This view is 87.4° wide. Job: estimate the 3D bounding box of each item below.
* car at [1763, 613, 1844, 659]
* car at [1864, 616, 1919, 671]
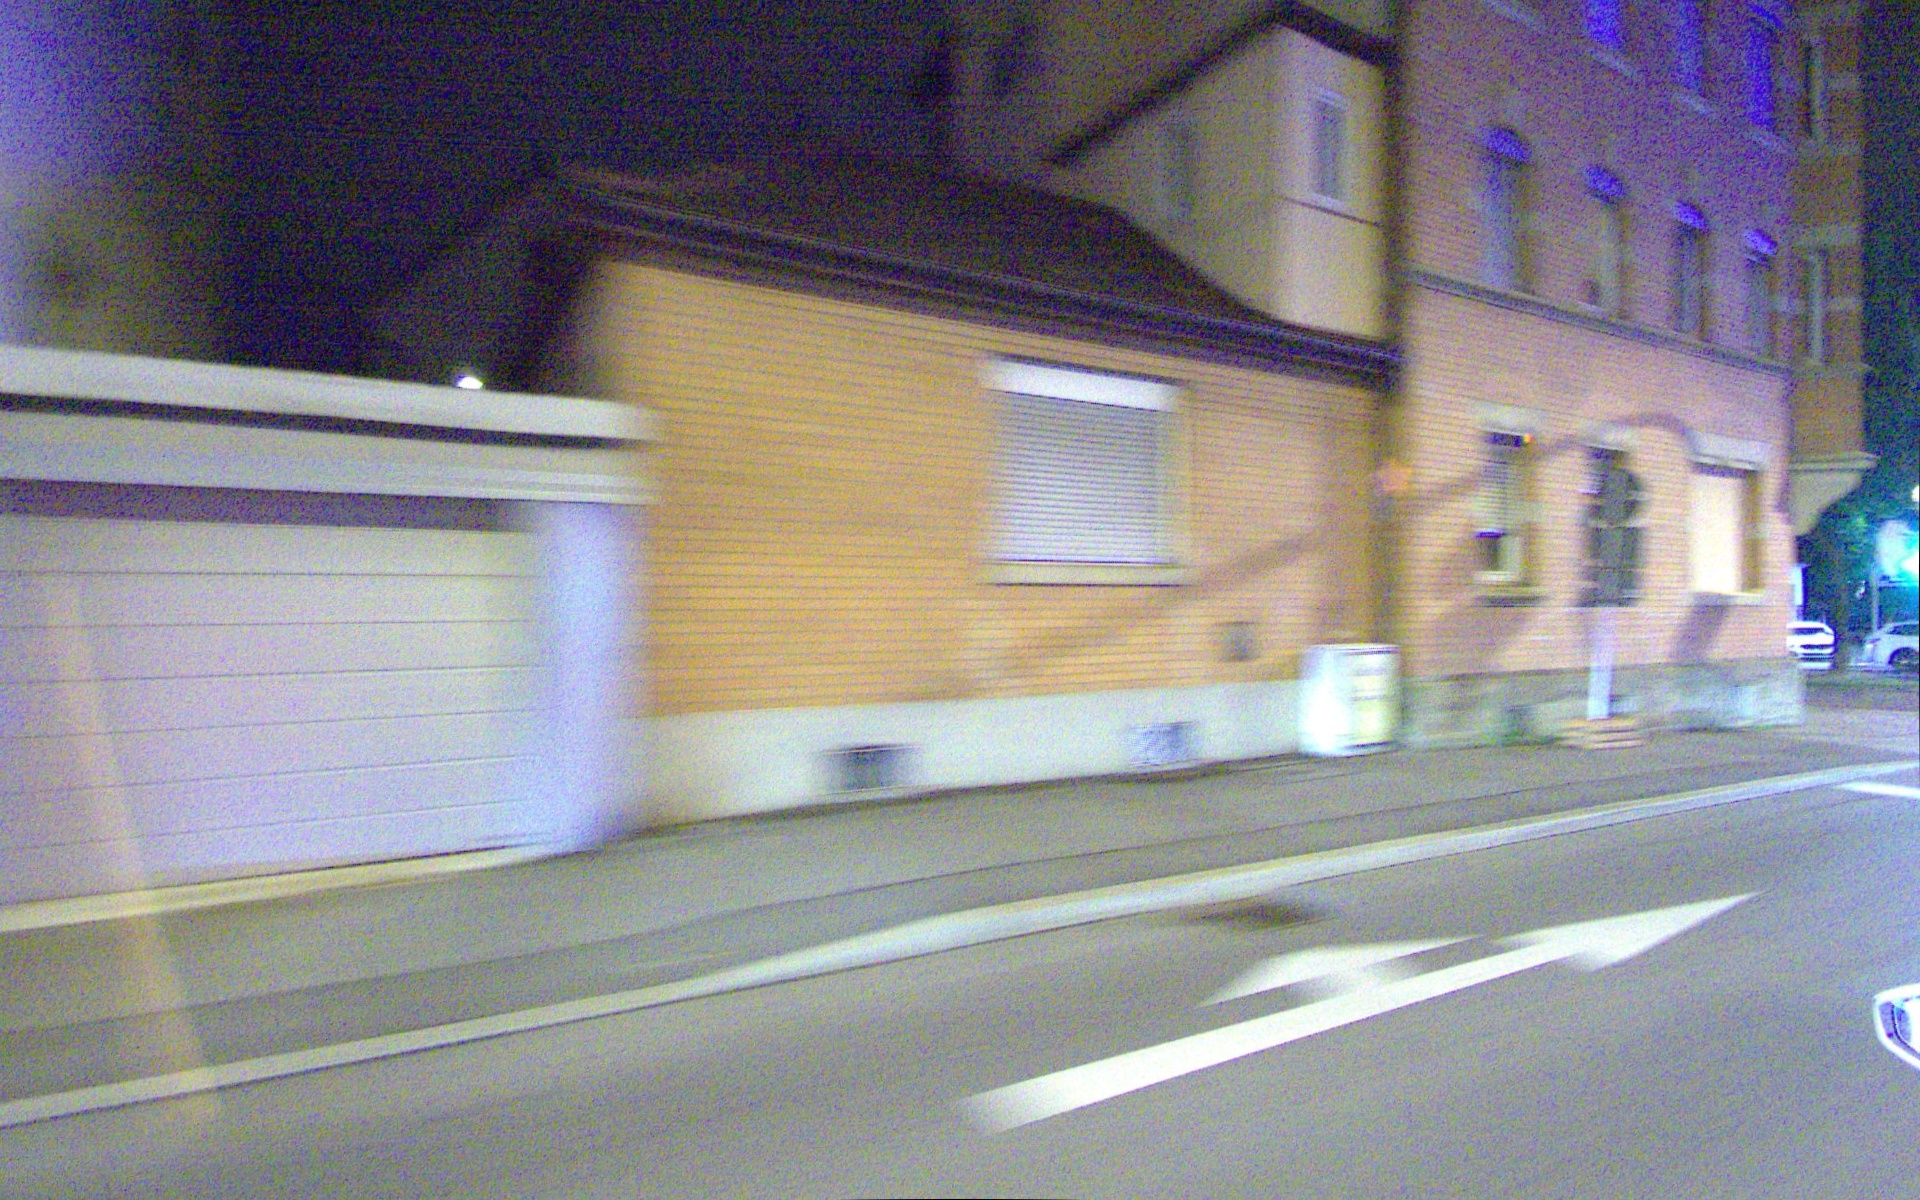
[{"bbox_3d":[34.786,1.449,41.532,1.965,1.798,3.992,0,-1,31],"label":"car"},{"bbox_3d":[27.440,1.197,26.907,1.976,1.469,4.418,1,-1,-30],"label":"car"}]
